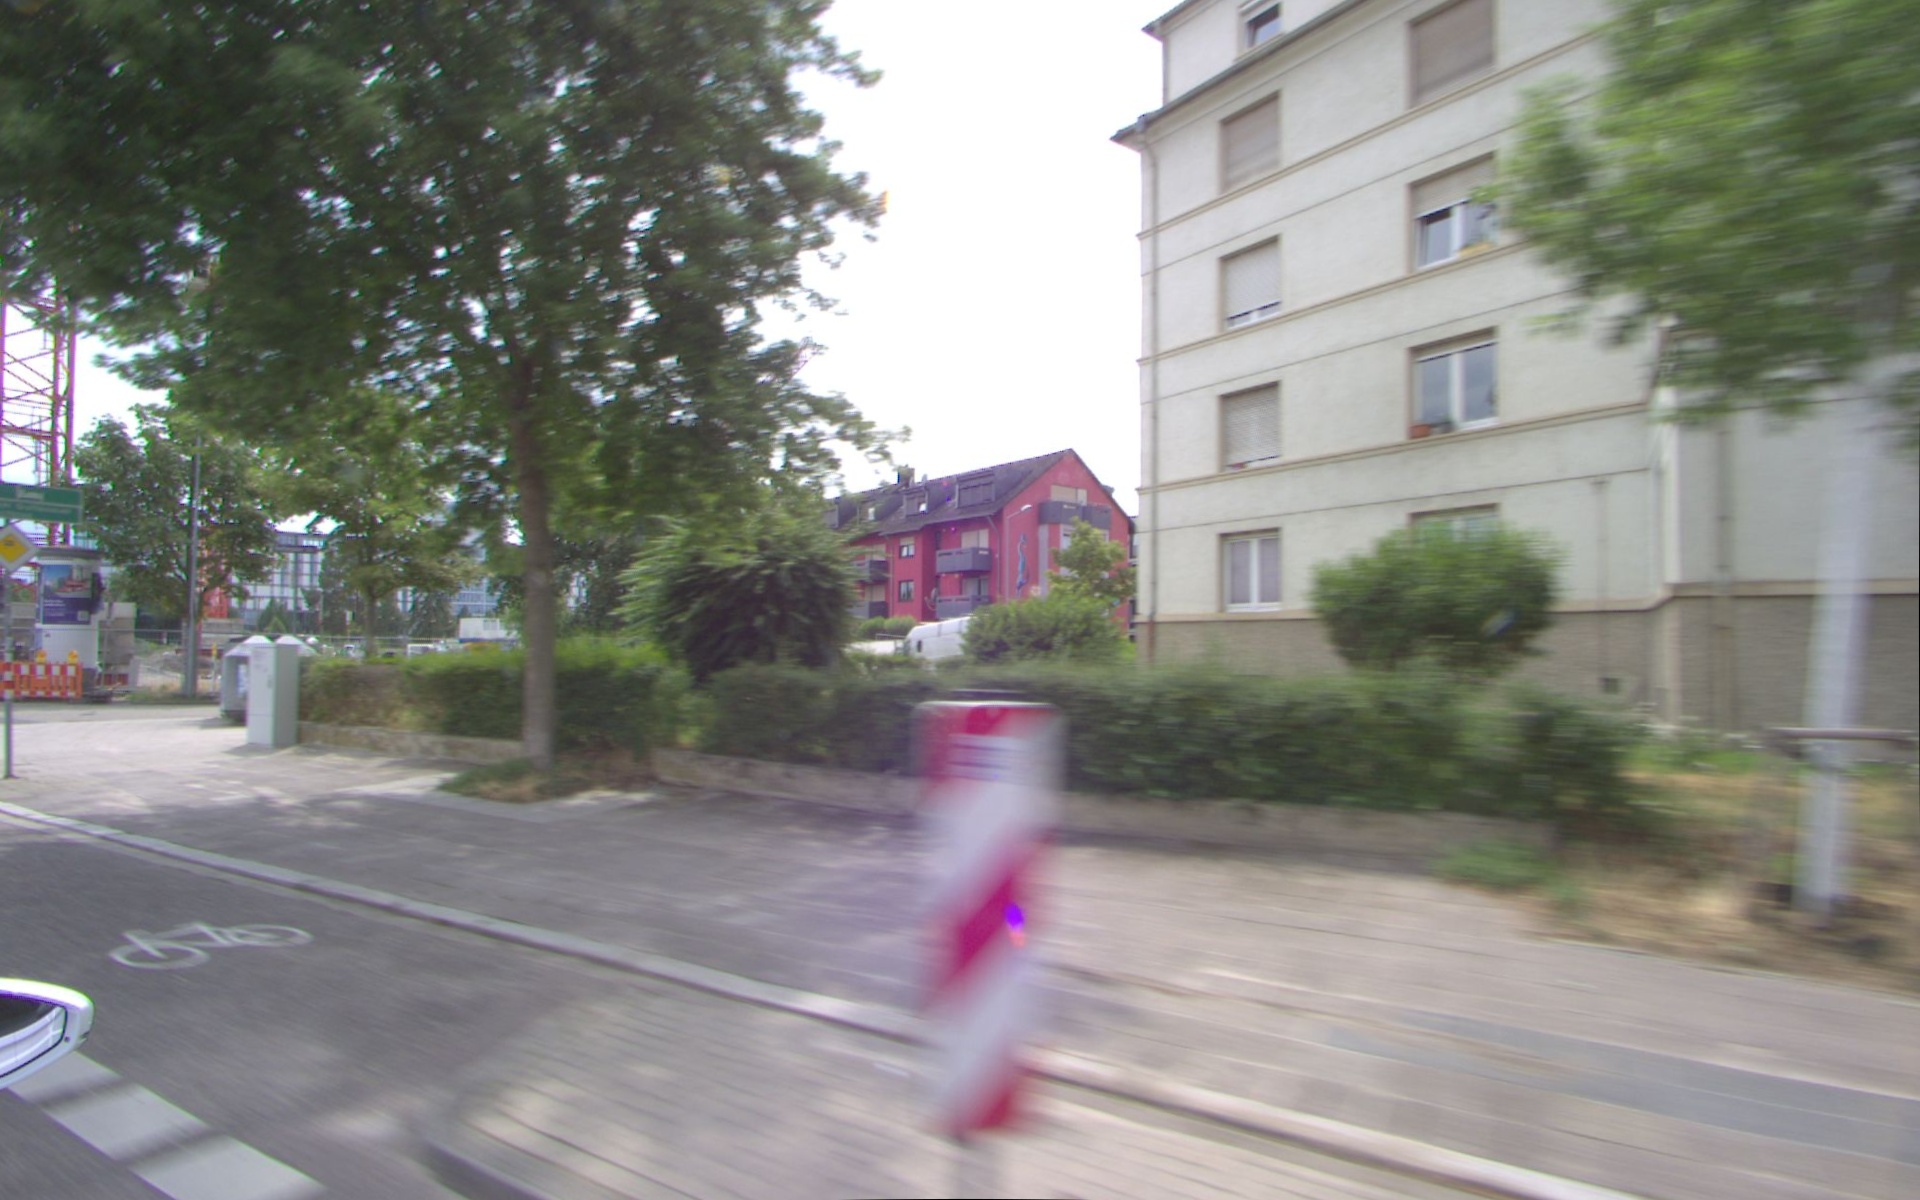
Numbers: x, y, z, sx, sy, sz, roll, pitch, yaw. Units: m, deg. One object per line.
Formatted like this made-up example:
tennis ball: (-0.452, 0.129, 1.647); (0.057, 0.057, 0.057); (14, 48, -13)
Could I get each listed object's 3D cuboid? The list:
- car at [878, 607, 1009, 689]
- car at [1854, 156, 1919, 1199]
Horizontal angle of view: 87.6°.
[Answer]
car: (-0.643, 1.696, 33.770); (1.878, 2.481, 5.076); (5, -6, -34)
car: (3.918, 0.243, 0.489); (4.835, 2.632, 1.894); (-2, -6, 32)
